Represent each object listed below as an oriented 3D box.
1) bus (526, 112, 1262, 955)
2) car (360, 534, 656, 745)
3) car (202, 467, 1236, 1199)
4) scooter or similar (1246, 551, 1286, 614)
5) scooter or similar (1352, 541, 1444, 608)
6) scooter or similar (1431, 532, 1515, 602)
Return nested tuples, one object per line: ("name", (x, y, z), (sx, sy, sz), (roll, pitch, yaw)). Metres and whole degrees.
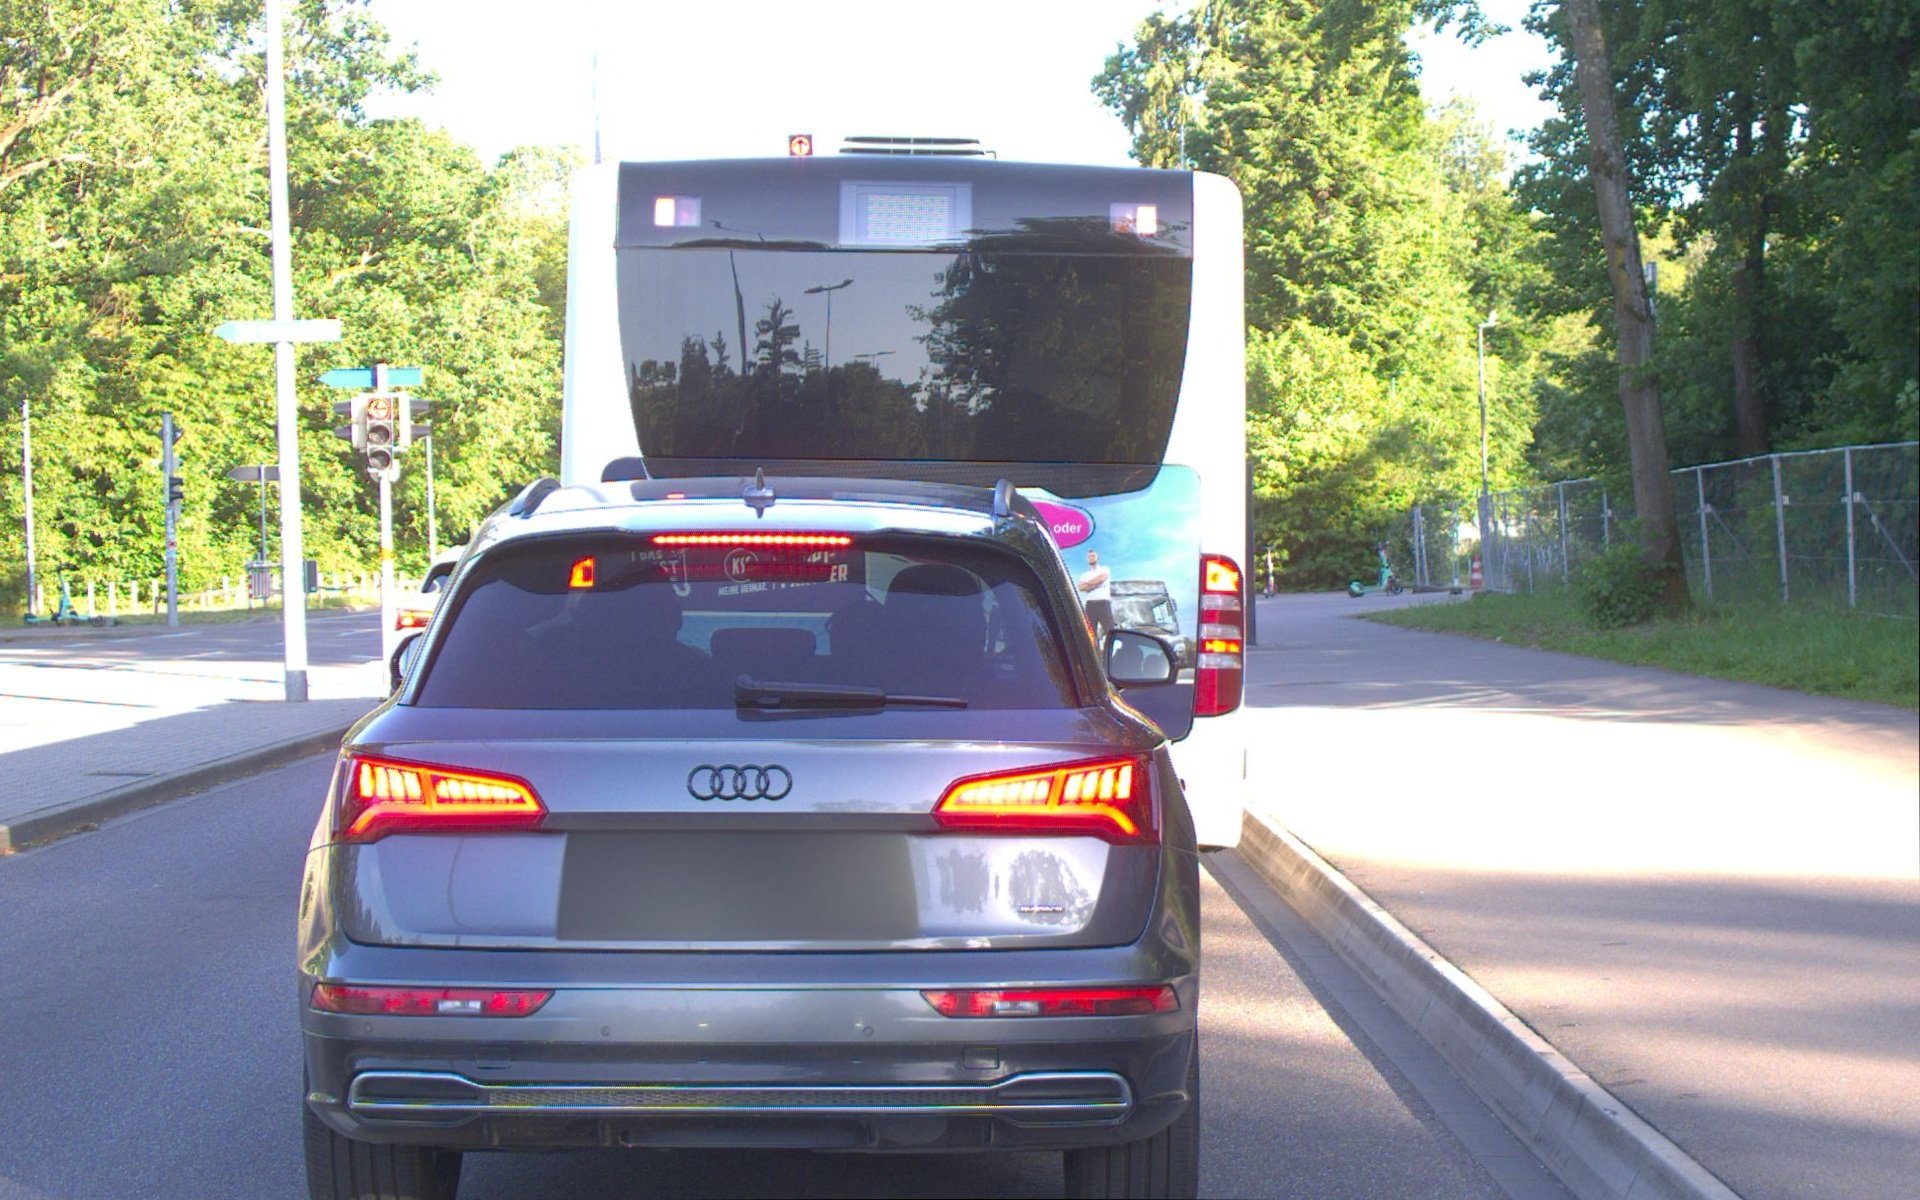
("bus", (-0.286, -0.270, 16.833), (2.594, 2.978, 9.327), (0, 0, -1))
("car", (-3.521, 0.256, 27.425), (1.836, 1.513, 4.000), (-2, 1, -1))
("car", (-0.469, 0.540, 8.343), (1.898, 1.626, 4.000), (0, 1, -1))
("scooter or similar", (7.167, -0.426, 80.644), (0.508, 1.439, 2.023), (-2, 1, -6))
("scooter or similar", (9.920, -0.579, 77.857), (2.015, 1.439, 0.606), (-2, 1, -25))
("scooter or similar", (11.805, -0.757, 79.153), (0.539, 1.562, 2.022), (-3, 1, -40))
